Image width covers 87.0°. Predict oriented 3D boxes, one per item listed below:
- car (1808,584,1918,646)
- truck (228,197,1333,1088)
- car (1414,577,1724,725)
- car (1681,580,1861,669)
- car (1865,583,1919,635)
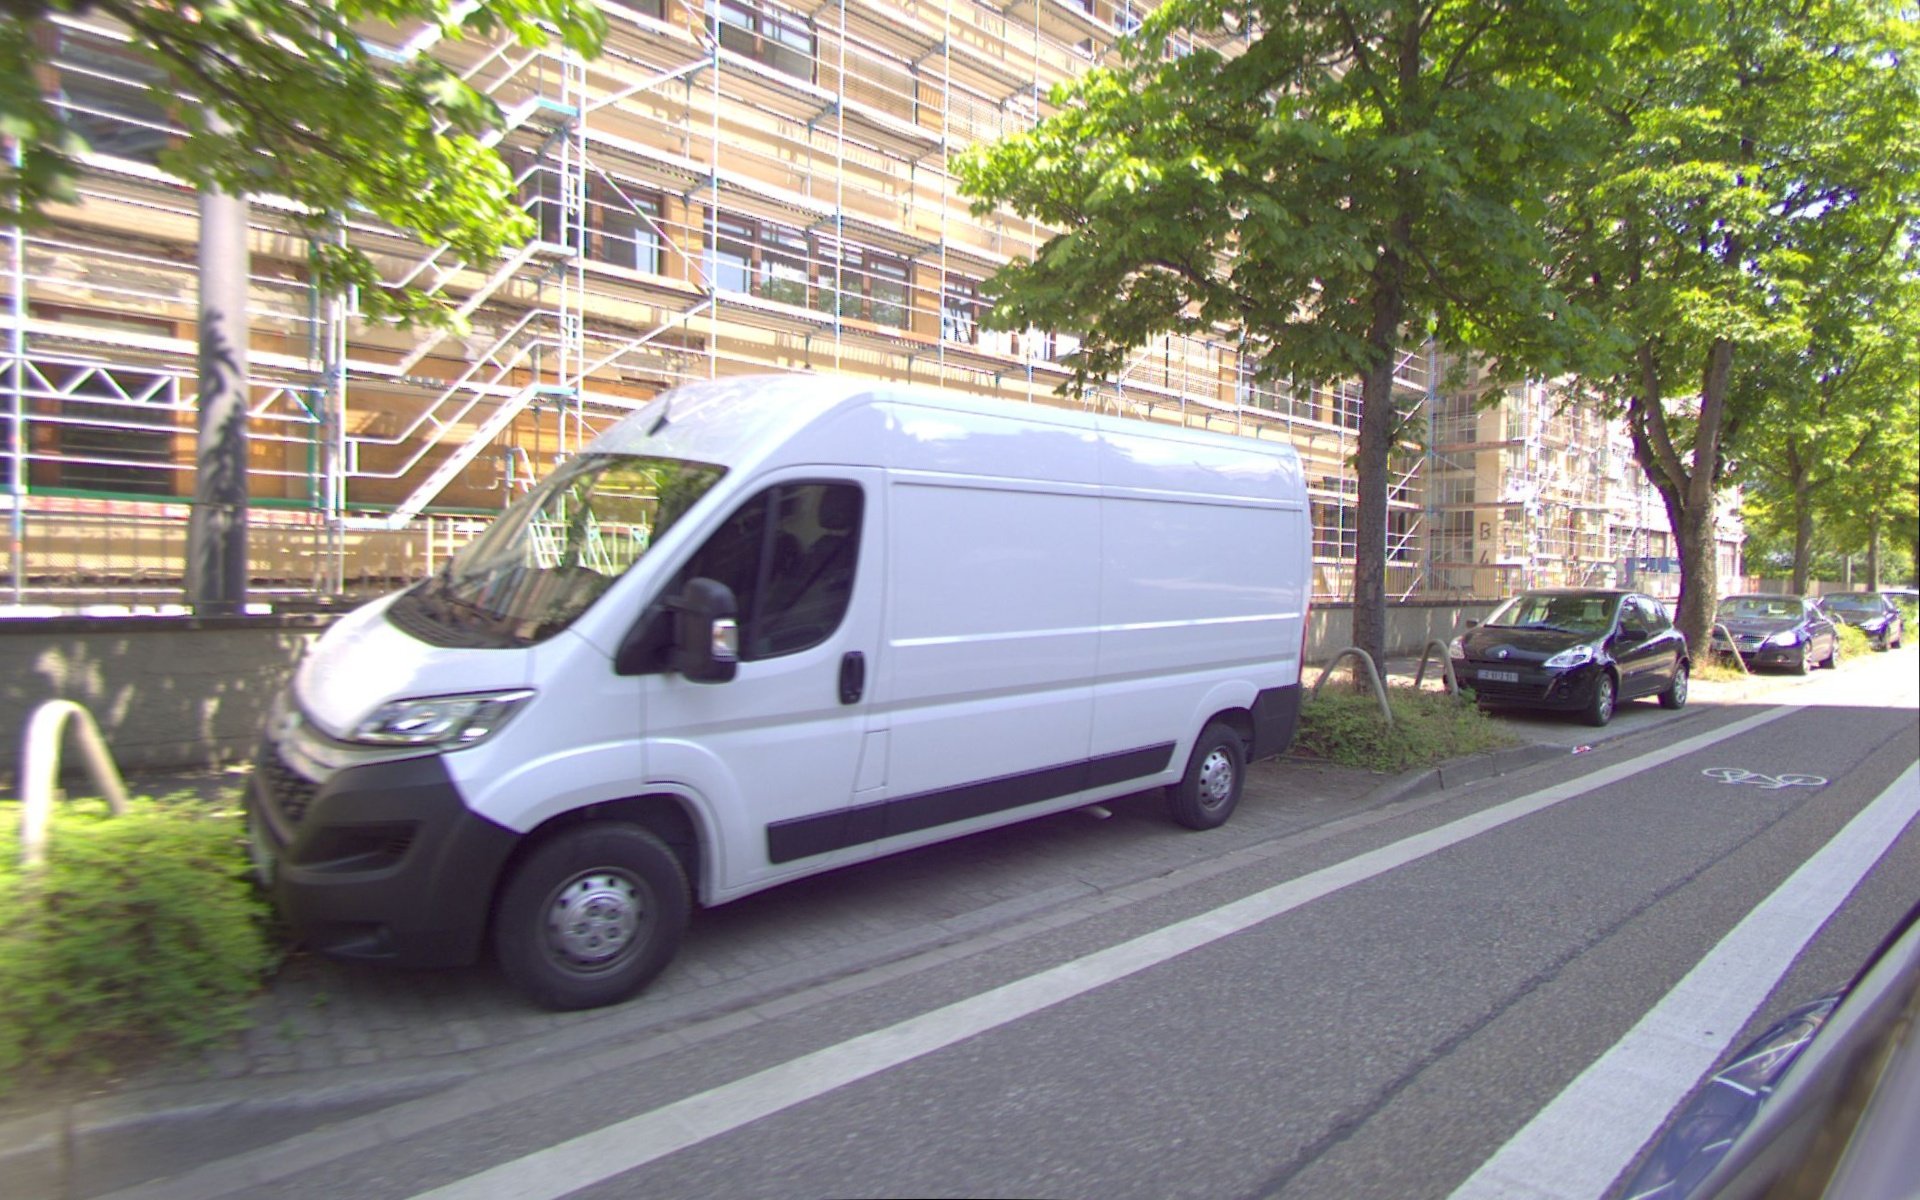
[{"bbox_3d":[23.227,0.335,25.986,3.972,1.456,1.674,0,2,-42],"label":"car"},{"bbox_3d":[-0.331,0.076,5.594,5.855,2.519,2.017,0,2,-43],"label":"truck"},{"bbox_3d":[7.525,0.490,12.351,4.320,1.490,1.829,0,2,-38],"label":"car"},{"bbox_3d":[15.593,0.399,19.373,4.406,1.490,1.828,0,2,-40],"label":"car"},{"bbox_3d":[30.513,0.256,32.516,4.129,1.536,1.674,0,2,-42],"label":"car"}]
